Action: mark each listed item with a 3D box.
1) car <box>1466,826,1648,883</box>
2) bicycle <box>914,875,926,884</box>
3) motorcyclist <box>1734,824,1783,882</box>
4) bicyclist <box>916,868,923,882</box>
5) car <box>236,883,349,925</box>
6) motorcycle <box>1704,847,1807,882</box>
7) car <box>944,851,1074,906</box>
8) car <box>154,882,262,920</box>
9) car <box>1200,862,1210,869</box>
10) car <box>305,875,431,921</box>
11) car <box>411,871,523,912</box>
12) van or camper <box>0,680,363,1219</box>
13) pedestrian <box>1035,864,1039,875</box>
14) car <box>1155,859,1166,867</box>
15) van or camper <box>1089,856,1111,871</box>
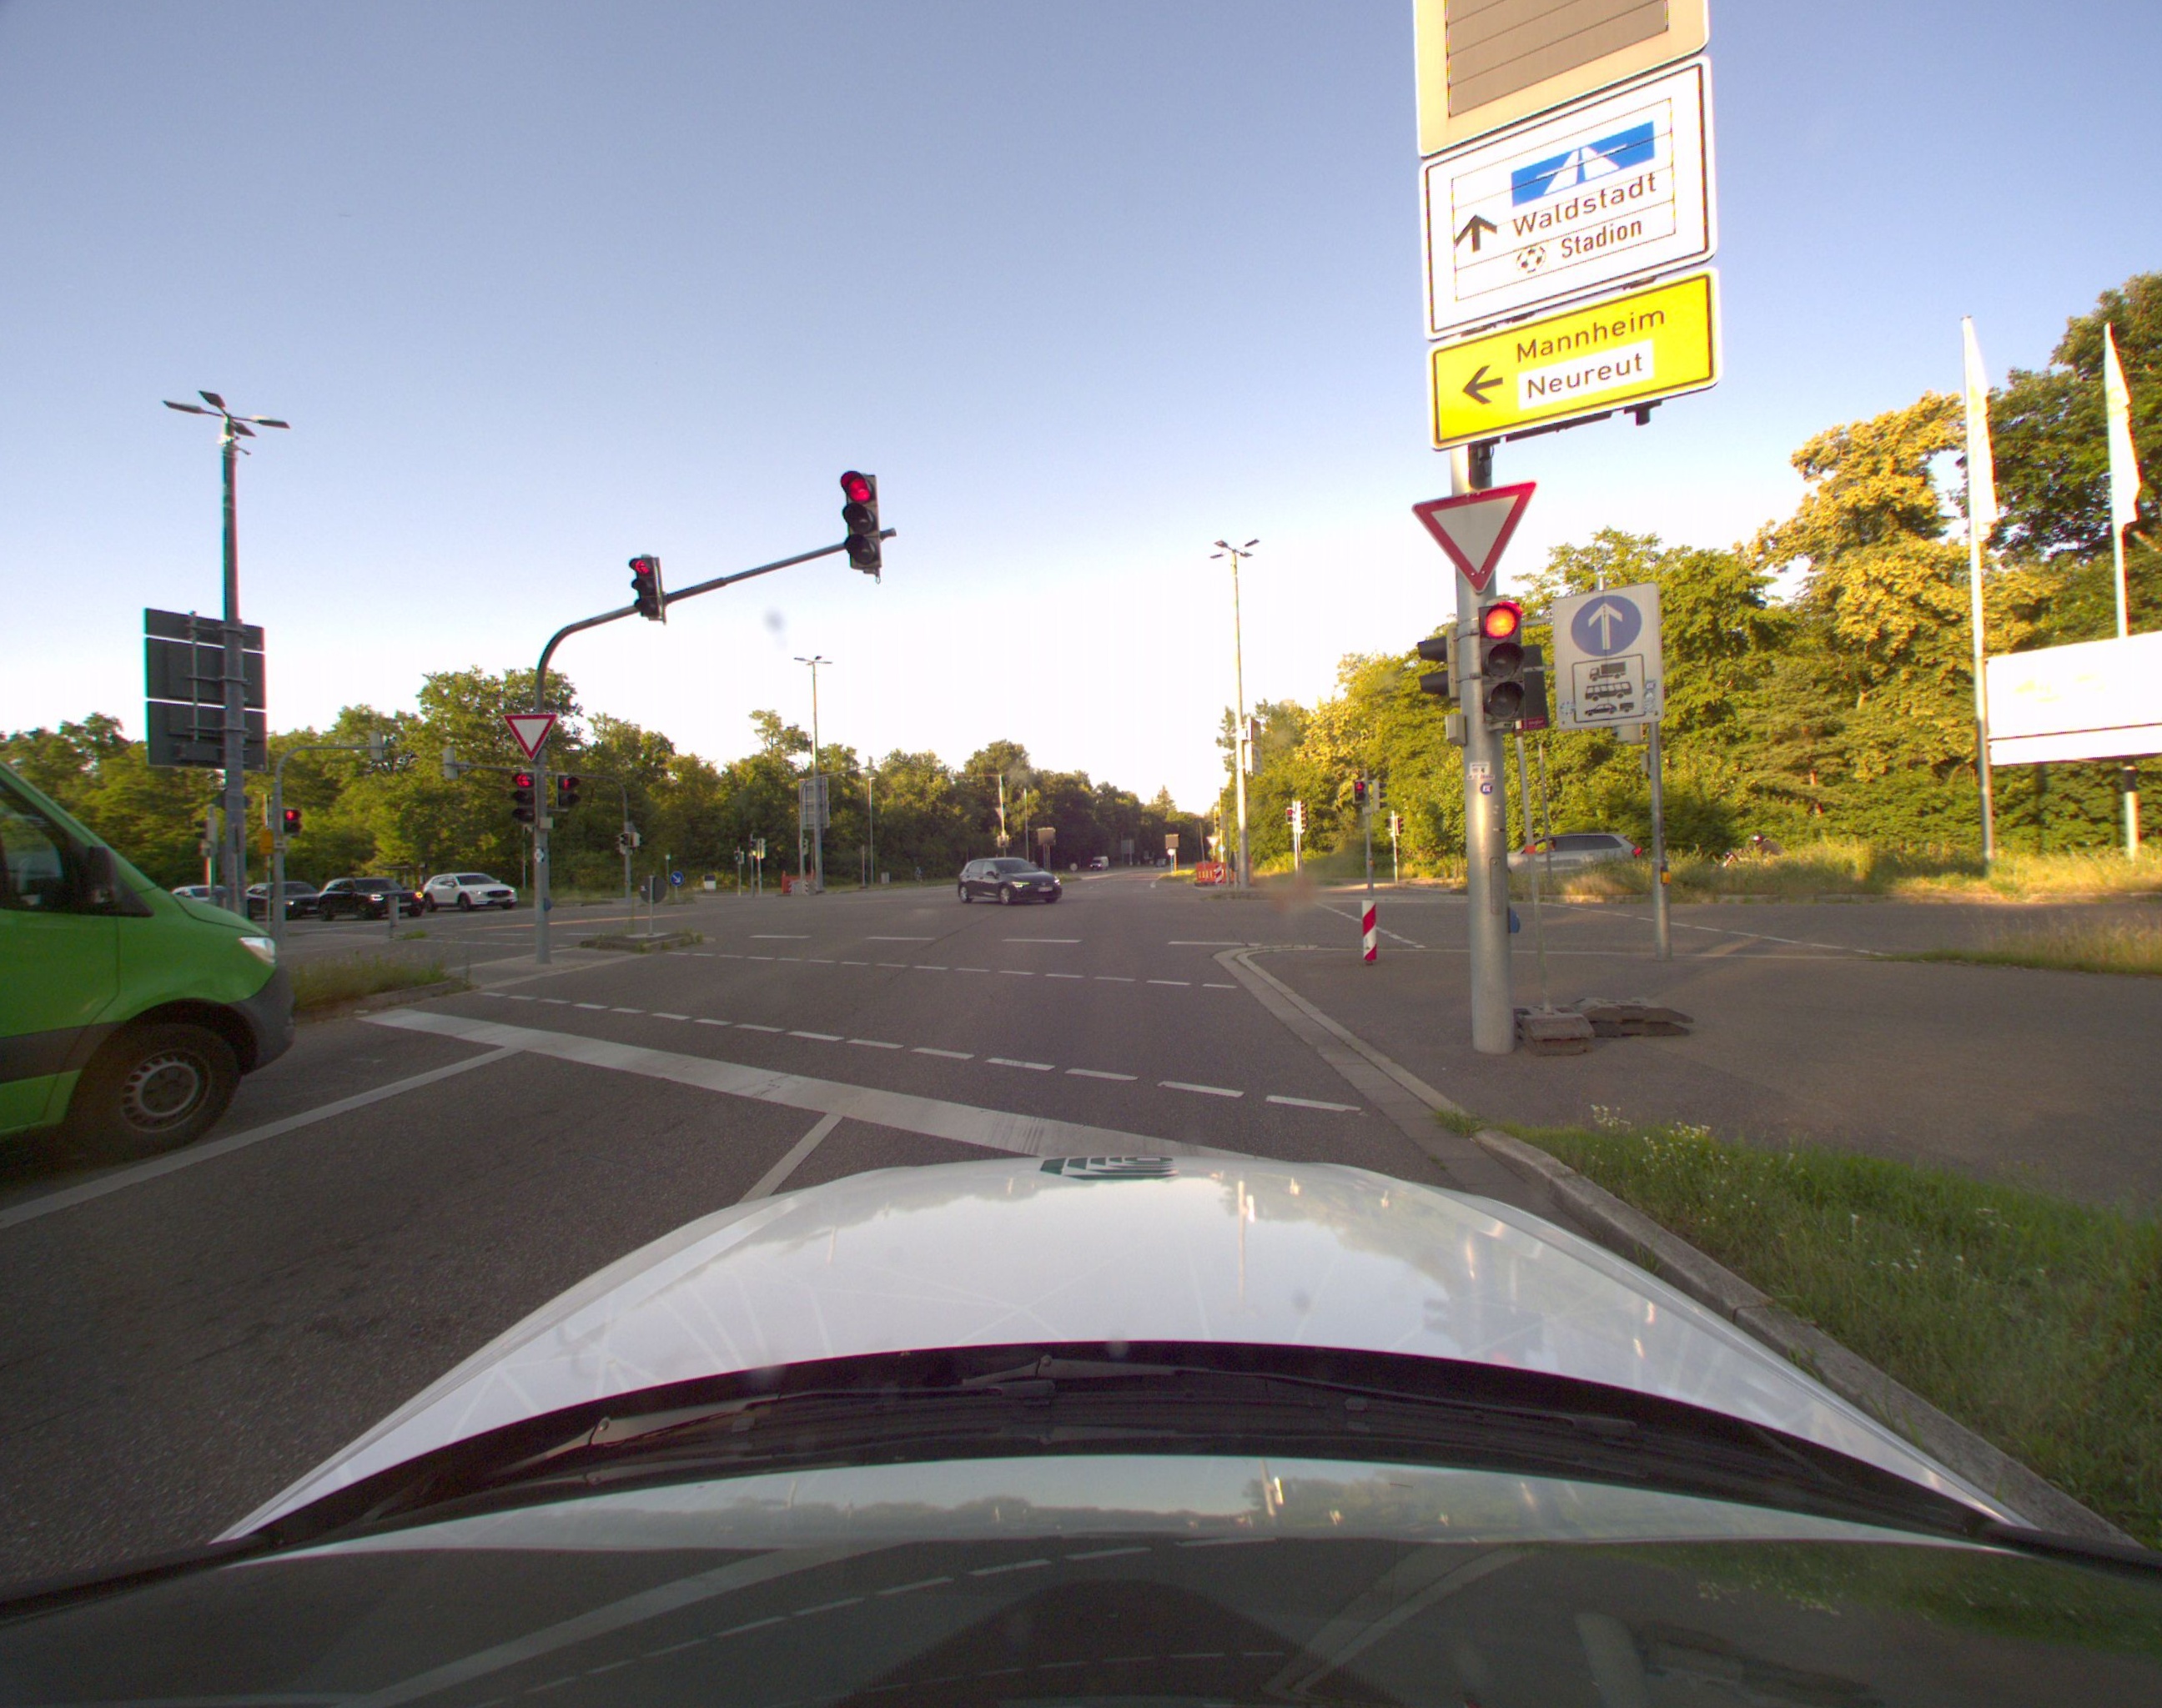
[{"bbox_3d":[15.034,0.027,26.077,4.773,1.598,2.011,-2,0,23],"label":"car"},{"bbox_3d":[-16.780,2.642,84.803,1.112,0.825,0.408,-2,-1,-39],"label":"bicycle"},{"bbox_3d":[19.180,-0.037,23.071,0.878,1.595,0.658,-2,-1,23],"label":"motorcyclist"},{"bbox_3d":[-16.824,2.211,84.775,0.522,1.387,0.402,-1,-1,-40],"label":"bicyclist"},{"bbox_3d":[-33.920,2.156,35.037,4.205,1.640,2.011,-2,0,23],"label":"car"},{"bbox_3d":[19.096,0.307,23.112,2.125,0.910,0.666,-2,-1,23],"label":"motorcycle"},{"bbox_3d":[-2.389,0.763,25.806,2.009,1.530,4.627,-2,0,-36],"label":"car"},{"bbox_3d":[-41.252,2.213,38.479,4.207,1.640,2.011,-2,0,21],"label":"car"},{"bbox_3d":[30.859,2.760,202.328,1.980,1.618,4.014,-2,0,13],"label":"car"},{"bbox_3d":[-27.664,1.705,31.611,4.206,1.640,2.011,-2,0,23],"label":"car"},{"bbox_3d":[-26.754,1.644,35.501,4.206,1.640,2.011,-2,0,23],"label":"car"},{"bbox_3d":[-5.883,0.448,2.508,1.986,2.421,5.897,-2,0,1],"label":"van or camper"},{"bbox_3d":[-7.906,2.778,145.992,0.519,2.014,0.600,0,-1,2],"label":"pedestrian"},{"bbox_3d":[18.721,2.058,191.795,1.979,1.640,4.016,-3,0,14],"label":"car"},{"bbox_3d":[3.735,1.769,157.086,2.865,2.652,7.146,-2,0,13],"label":"van or camper"}]
